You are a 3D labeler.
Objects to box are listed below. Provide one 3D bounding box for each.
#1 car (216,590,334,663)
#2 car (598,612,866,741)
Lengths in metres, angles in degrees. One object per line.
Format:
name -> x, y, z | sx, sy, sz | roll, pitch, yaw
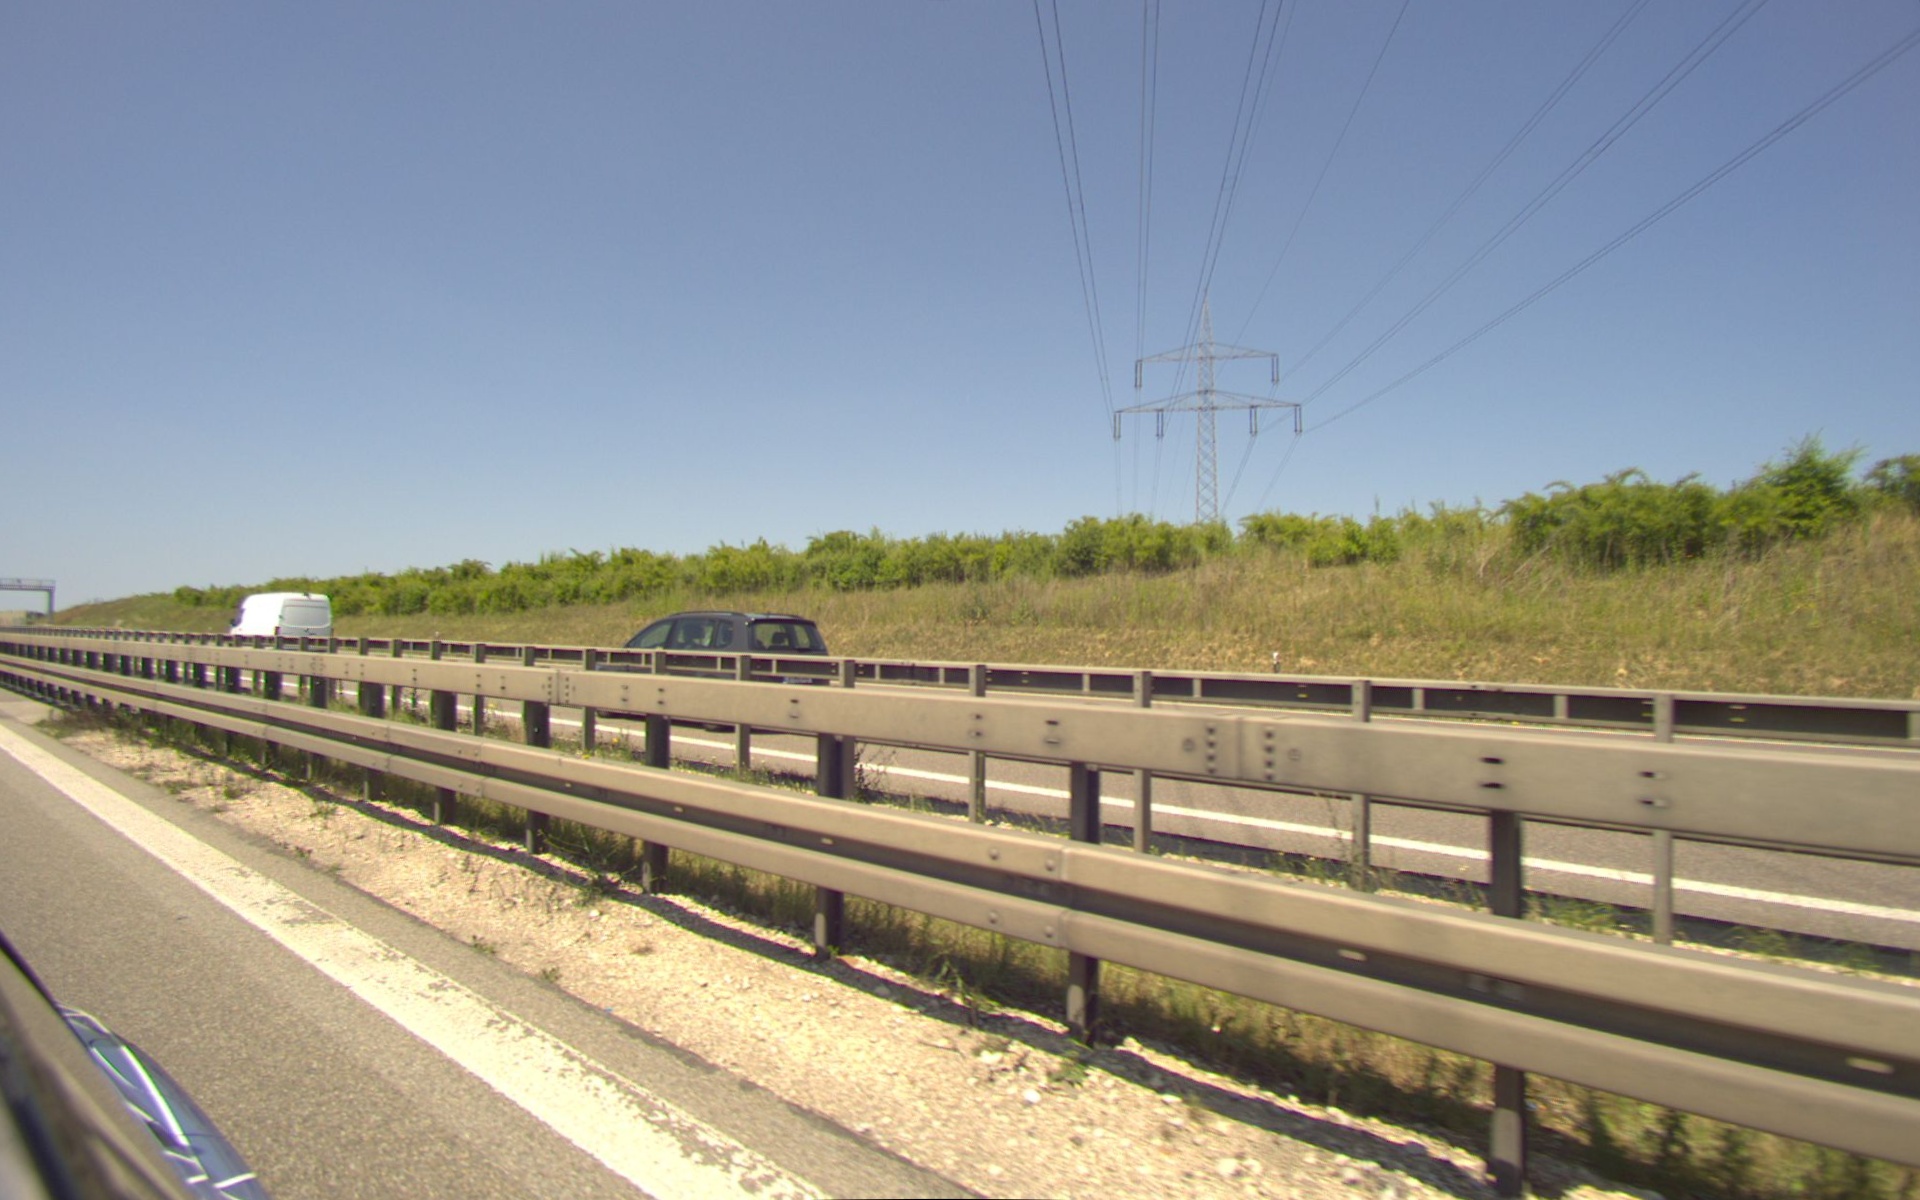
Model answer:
car -> -27.226, 0.998, 40.069 | 7.596, 2.625, 2.011 | -1, 0, 41
car -> -3.398, 0.991, 14.721 | 3.998, 1.612, 1.819 | -1, -1, 41
